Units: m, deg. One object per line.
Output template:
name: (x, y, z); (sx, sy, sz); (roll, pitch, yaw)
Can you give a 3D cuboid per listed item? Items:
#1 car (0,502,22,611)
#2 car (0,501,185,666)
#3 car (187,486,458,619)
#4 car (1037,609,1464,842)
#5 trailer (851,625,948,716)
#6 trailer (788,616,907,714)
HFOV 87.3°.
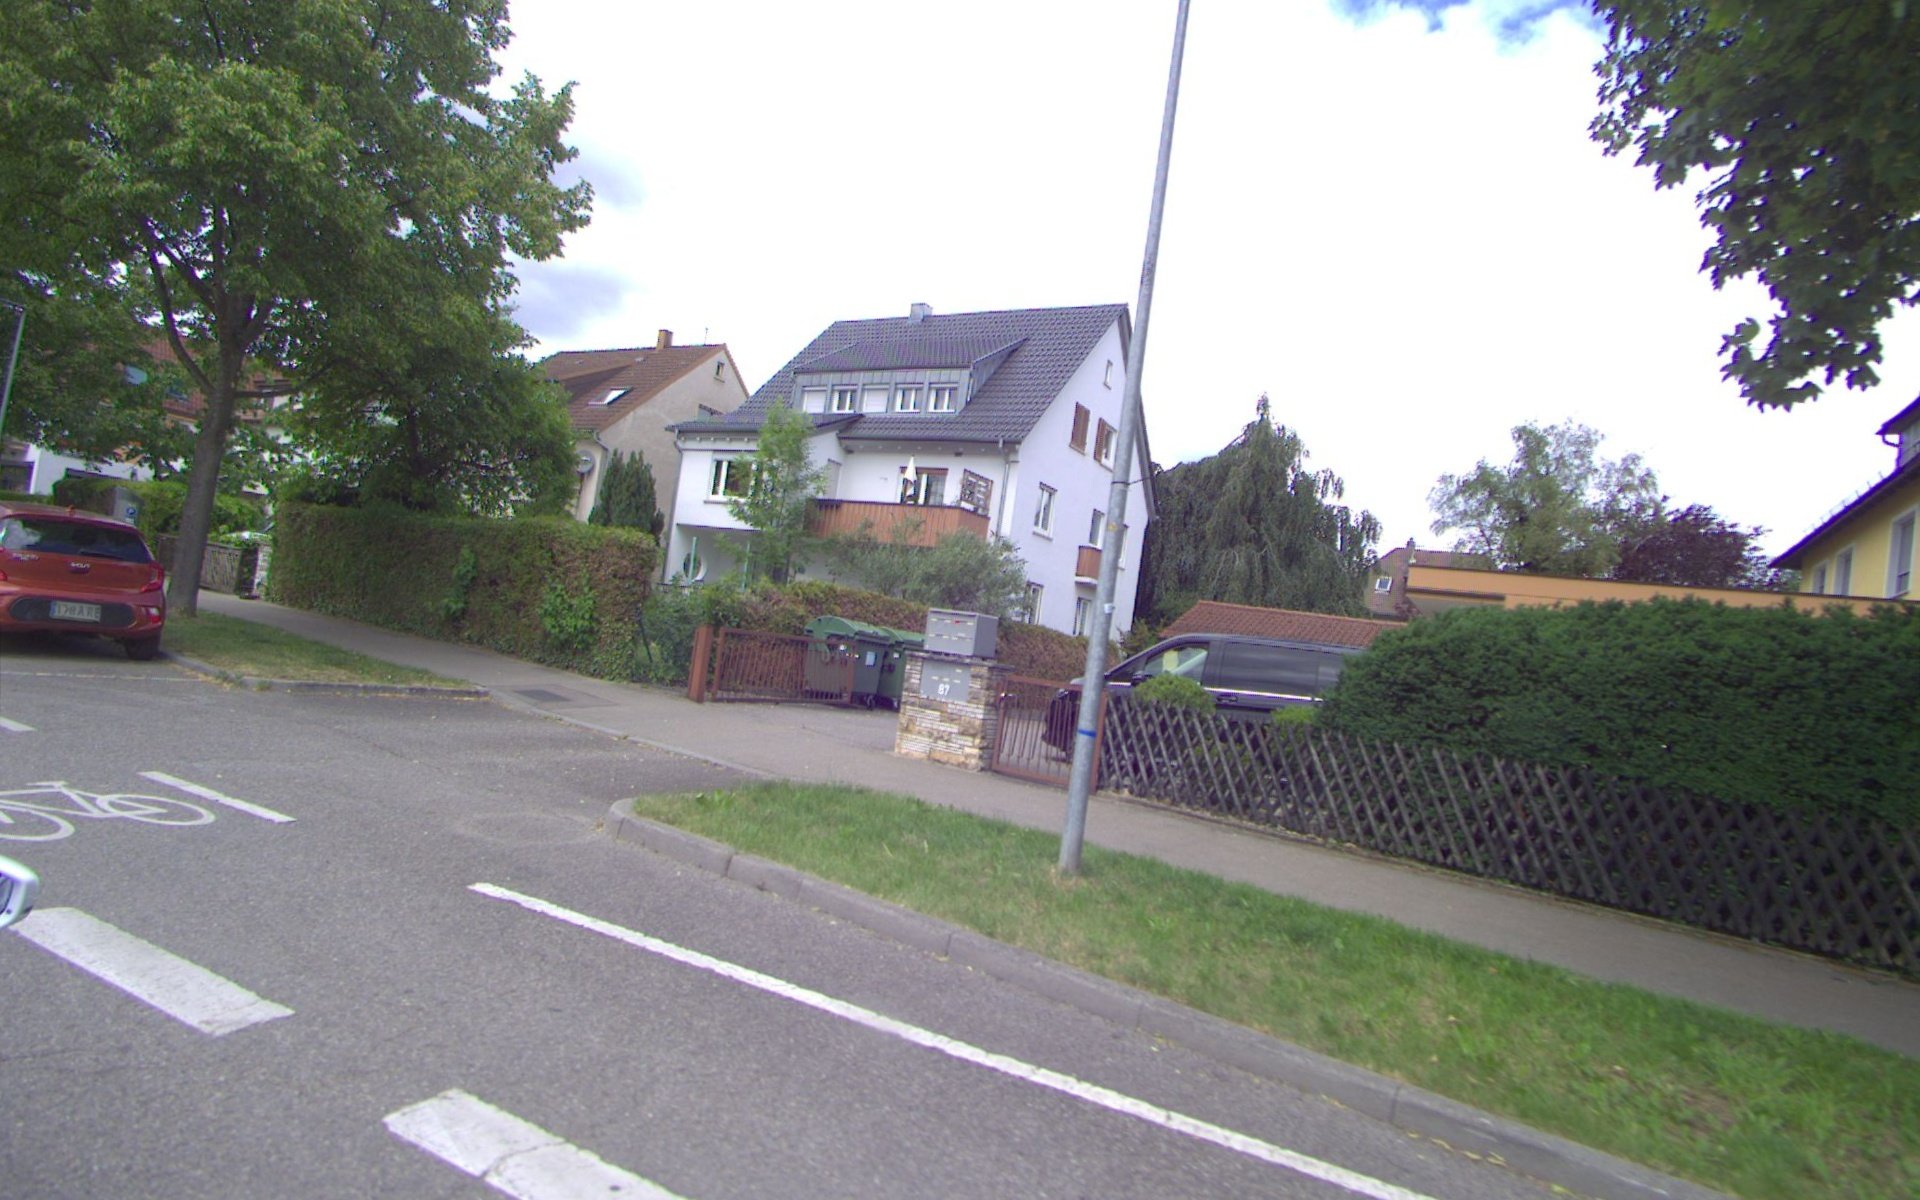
car: (-14.932, -0.844, 14.081); (4.109, 1.433, 1.654); (7, -1, 34)
car: (-10.166, -0.269, 10.986); (3.611, 1.472, 1.567); (6, -3, 35)
car: (-17.086, -1.160, 27.389); (1.964, 2.621, 5.727); (8, -2, 31)
car: (3.390, 1.390, 12.089); (4.397, 1.901, 1.819); (7, -3, 35)
trailer: (-1.090, 1.317, 18.505); (0.967, 1.433, 1.475); (7, -4, 29)
trailer: (-1.883, 1.125, 17.098); (1.130, 1.389, 1.587); (7, -4, 29)
